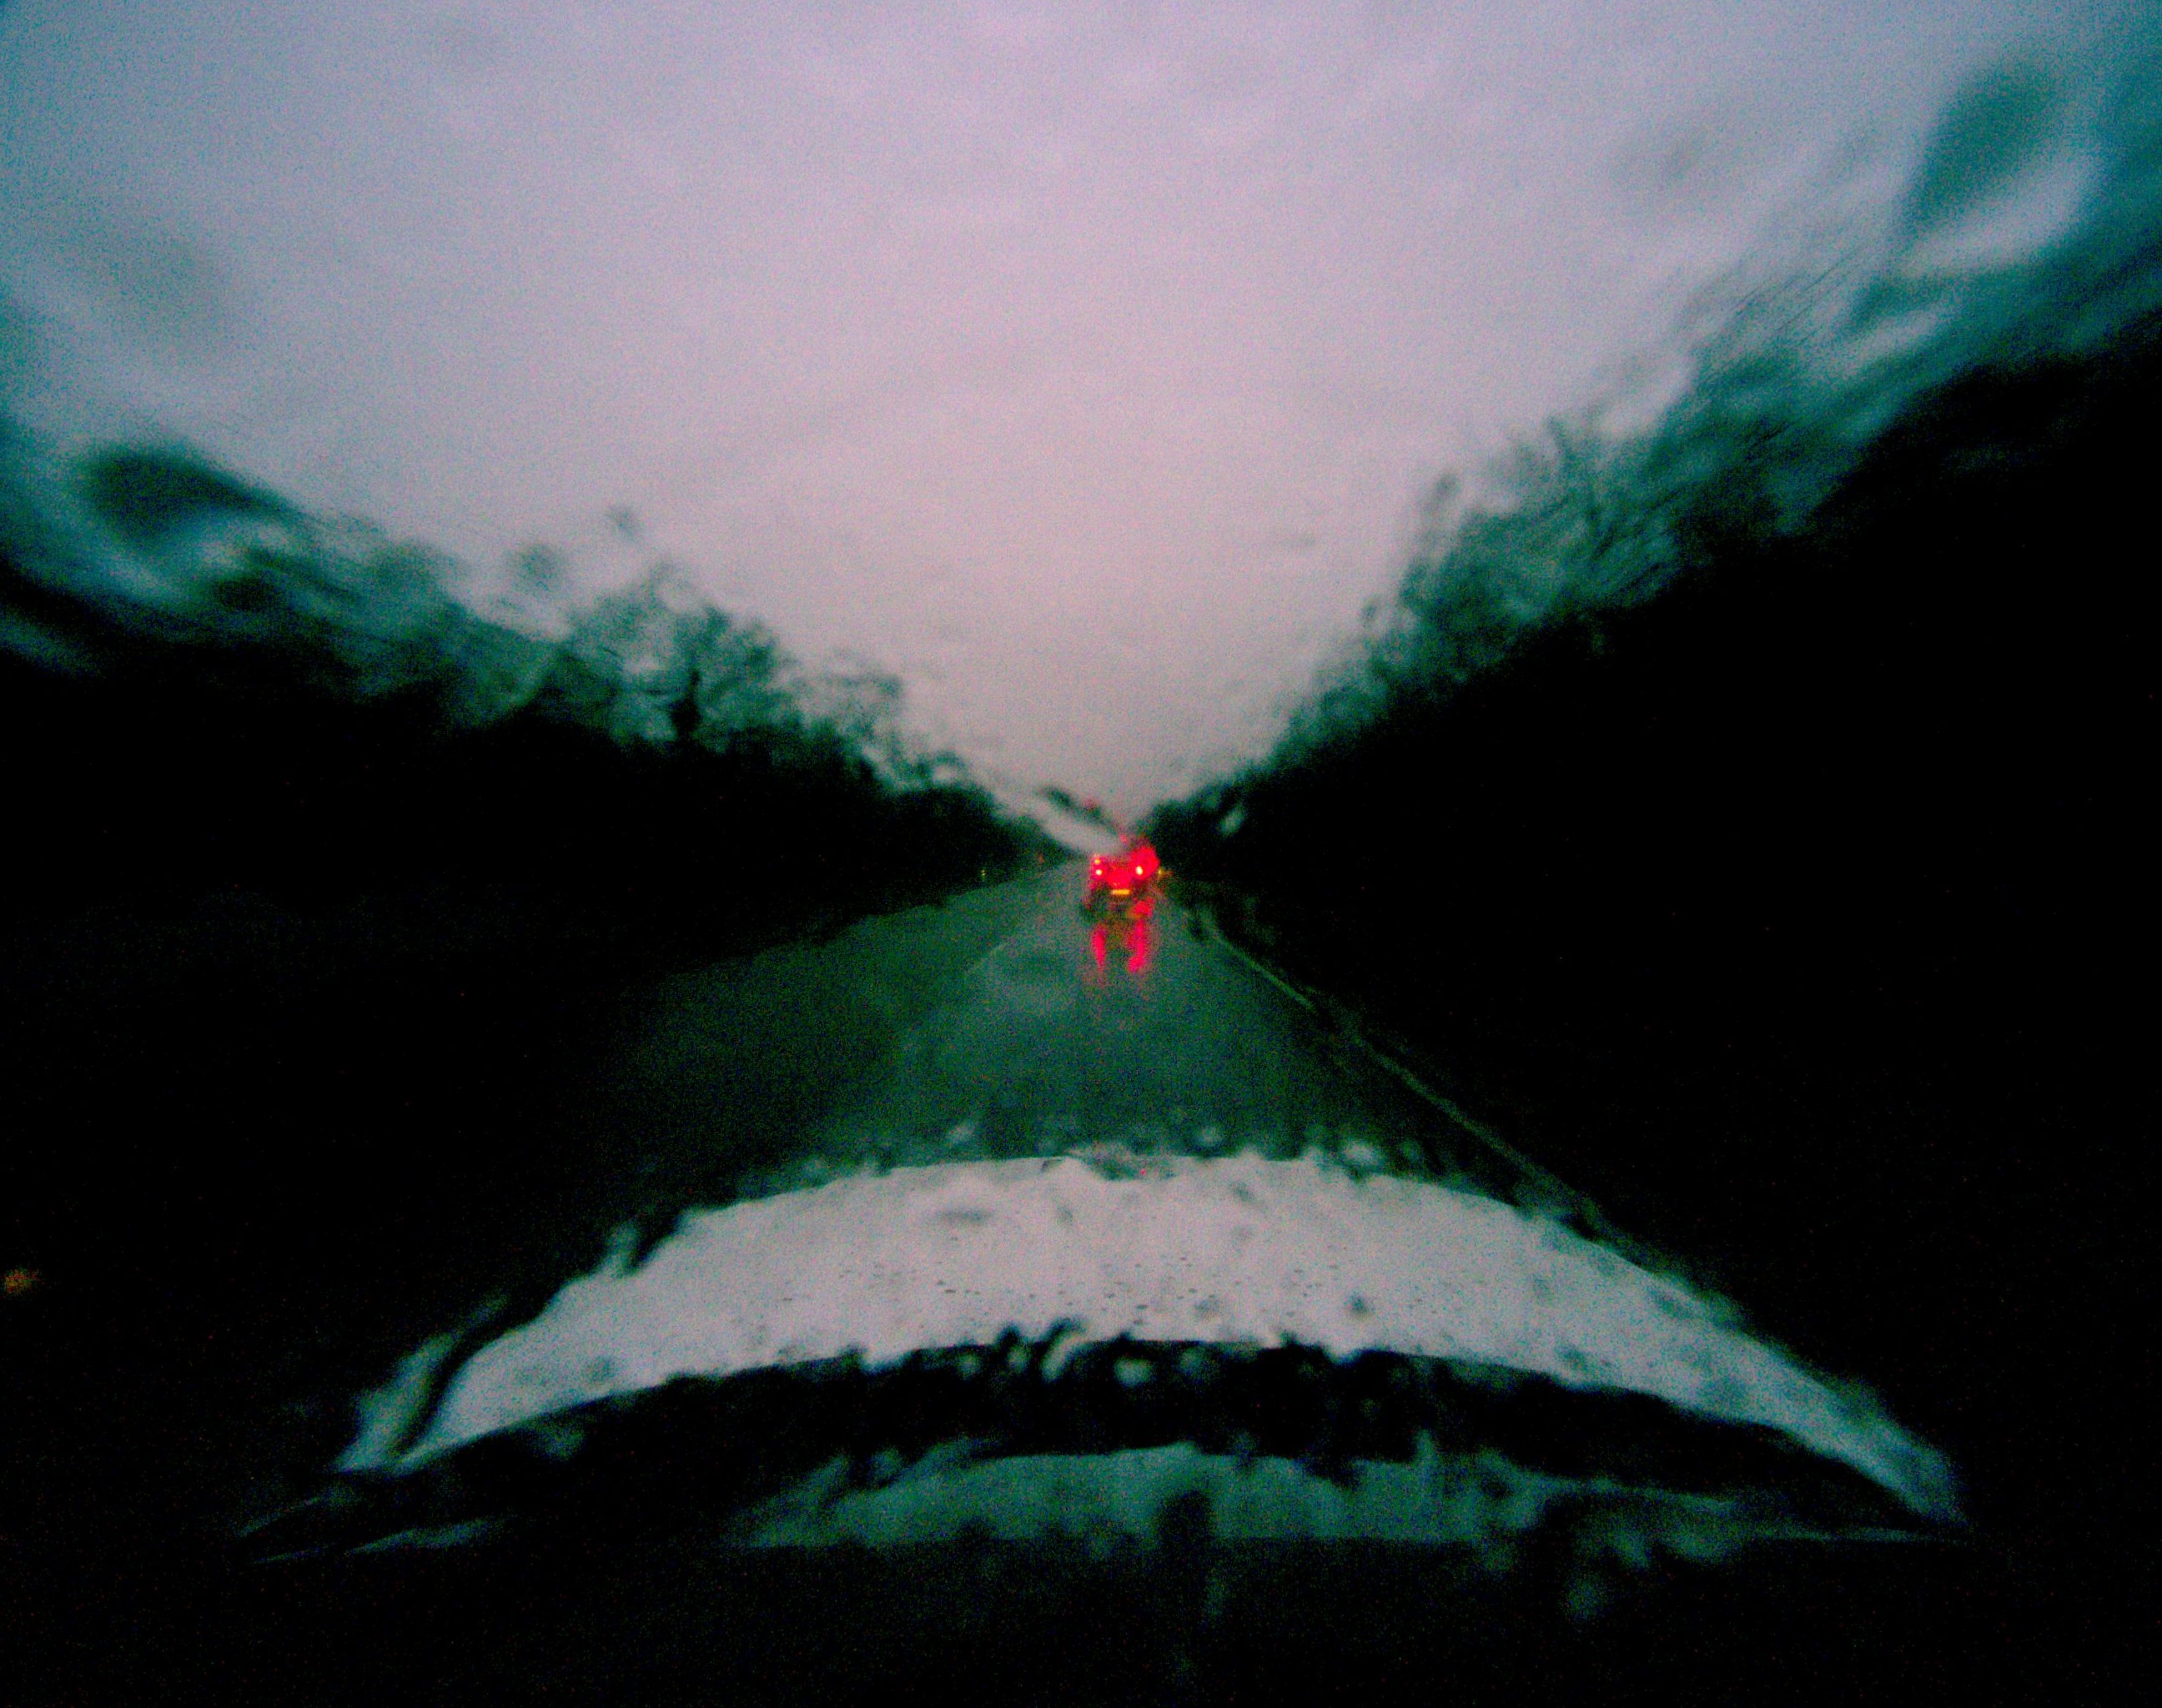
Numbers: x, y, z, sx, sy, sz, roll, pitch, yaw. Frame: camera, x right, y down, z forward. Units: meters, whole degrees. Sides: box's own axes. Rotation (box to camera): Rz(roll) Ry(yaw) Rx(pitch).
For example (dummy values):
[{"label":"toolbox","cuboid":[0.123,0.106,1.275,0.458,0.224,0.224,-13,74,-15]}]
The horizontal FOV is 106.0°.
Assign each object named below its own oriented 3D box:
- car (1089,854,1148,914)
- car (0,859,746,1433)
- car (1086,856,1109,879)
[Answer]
[{"label":"car","cuboid":[1.102,0.859,24.626,1.642,1.672,3.515,0,0,2]},{"label":"car","cuboid":[-3.693,0.805,3.861,1.692,1.495,5.666,-1,0,2]},{"label":"car","cuboid":[1.336,1.030,64.367,1.727,1.779,4.001,0,0,1]}]
